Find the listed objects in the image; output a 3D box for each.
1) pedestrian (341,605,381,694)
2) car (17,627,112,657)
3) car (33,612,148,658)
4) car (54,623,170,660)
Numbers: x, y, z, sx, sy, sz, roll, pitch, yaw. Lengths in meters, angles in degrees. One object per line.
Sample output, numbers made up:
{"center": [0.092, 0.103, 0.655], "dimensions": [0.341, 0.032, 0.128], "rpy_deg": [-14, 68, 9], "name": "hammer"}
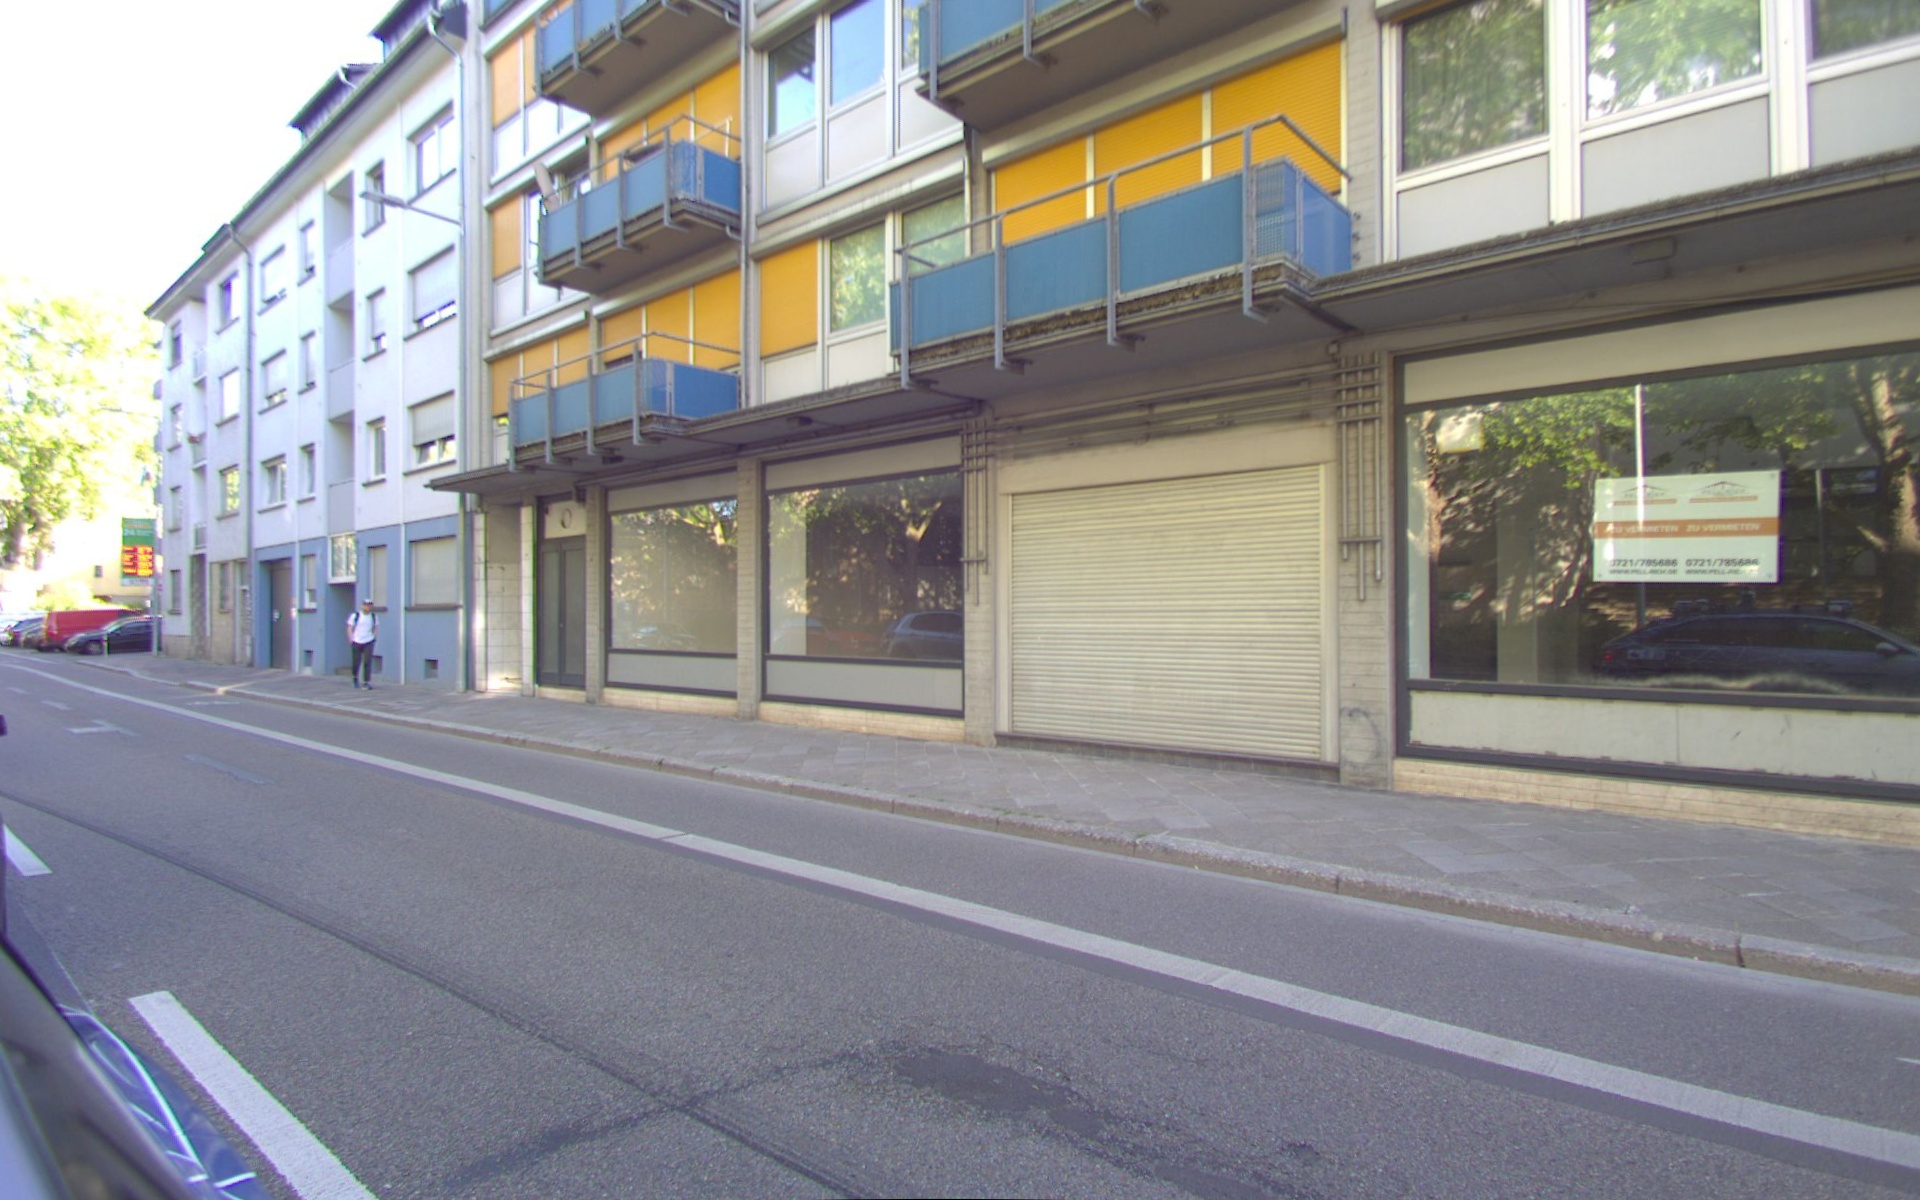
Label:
{"center": [-12.024, 0.974, 20.307], "dimensions": [0.343, 1.739, 0.562], "rpy_deg": [-2, 0, 41], "name": "pedestrian"}
{"center": [-42.967, 2.000, 48.600], "dimensions": [1.294, 1.258, 3.283], "rpy_deg": [-1, 0, 41], "name": "car"}
{"center": [-40.630, 1.584, 47.338], "dimensions": [1.635, 1.937, 3.878], "rpy_deg": [-2, 0, 41], "name": "car"}
{"center": [-36.665, 1.768, 43.819], "dimensions": [1.635, 1.422, 3.623], "rpy_deg": [-1, 0, 41], "name": "car"}
